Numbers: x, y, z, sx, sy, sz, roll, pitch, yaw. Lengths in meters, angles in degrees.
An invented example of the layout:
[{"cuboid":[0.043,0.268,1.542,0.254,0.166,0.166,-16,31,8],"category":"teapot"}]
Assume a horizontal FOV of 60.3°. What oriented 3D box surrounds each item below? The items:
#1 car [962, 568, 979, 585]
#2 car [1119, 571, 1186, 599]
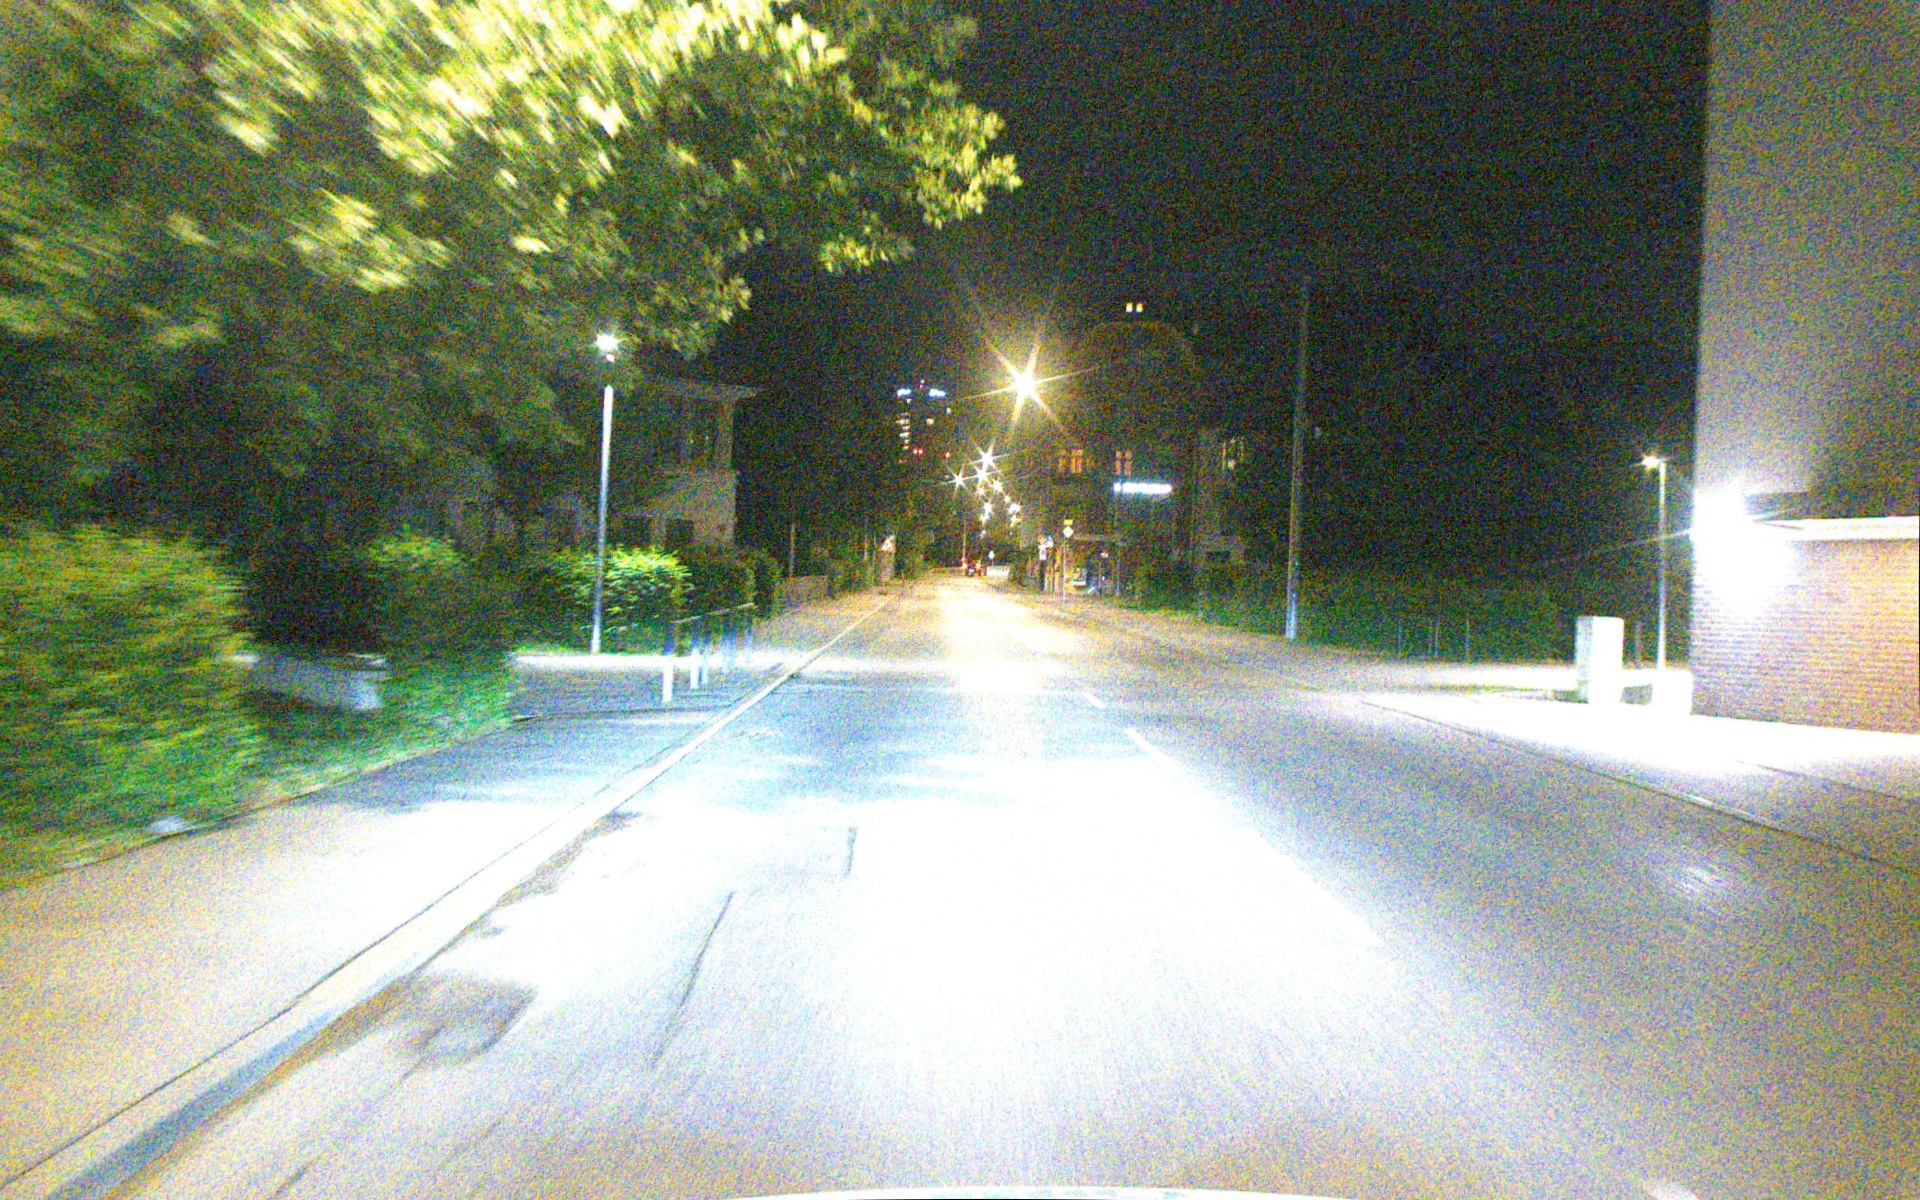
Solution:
[{"cuboid":[1.211,-2.789,197.119,1.885,1.886,3.999,1,-1,0],"category":"car"},{"cuboid":[11.786,-0.937,101.491,3.762,1.571,1.808,2,1,-4],"category":"car"}]
